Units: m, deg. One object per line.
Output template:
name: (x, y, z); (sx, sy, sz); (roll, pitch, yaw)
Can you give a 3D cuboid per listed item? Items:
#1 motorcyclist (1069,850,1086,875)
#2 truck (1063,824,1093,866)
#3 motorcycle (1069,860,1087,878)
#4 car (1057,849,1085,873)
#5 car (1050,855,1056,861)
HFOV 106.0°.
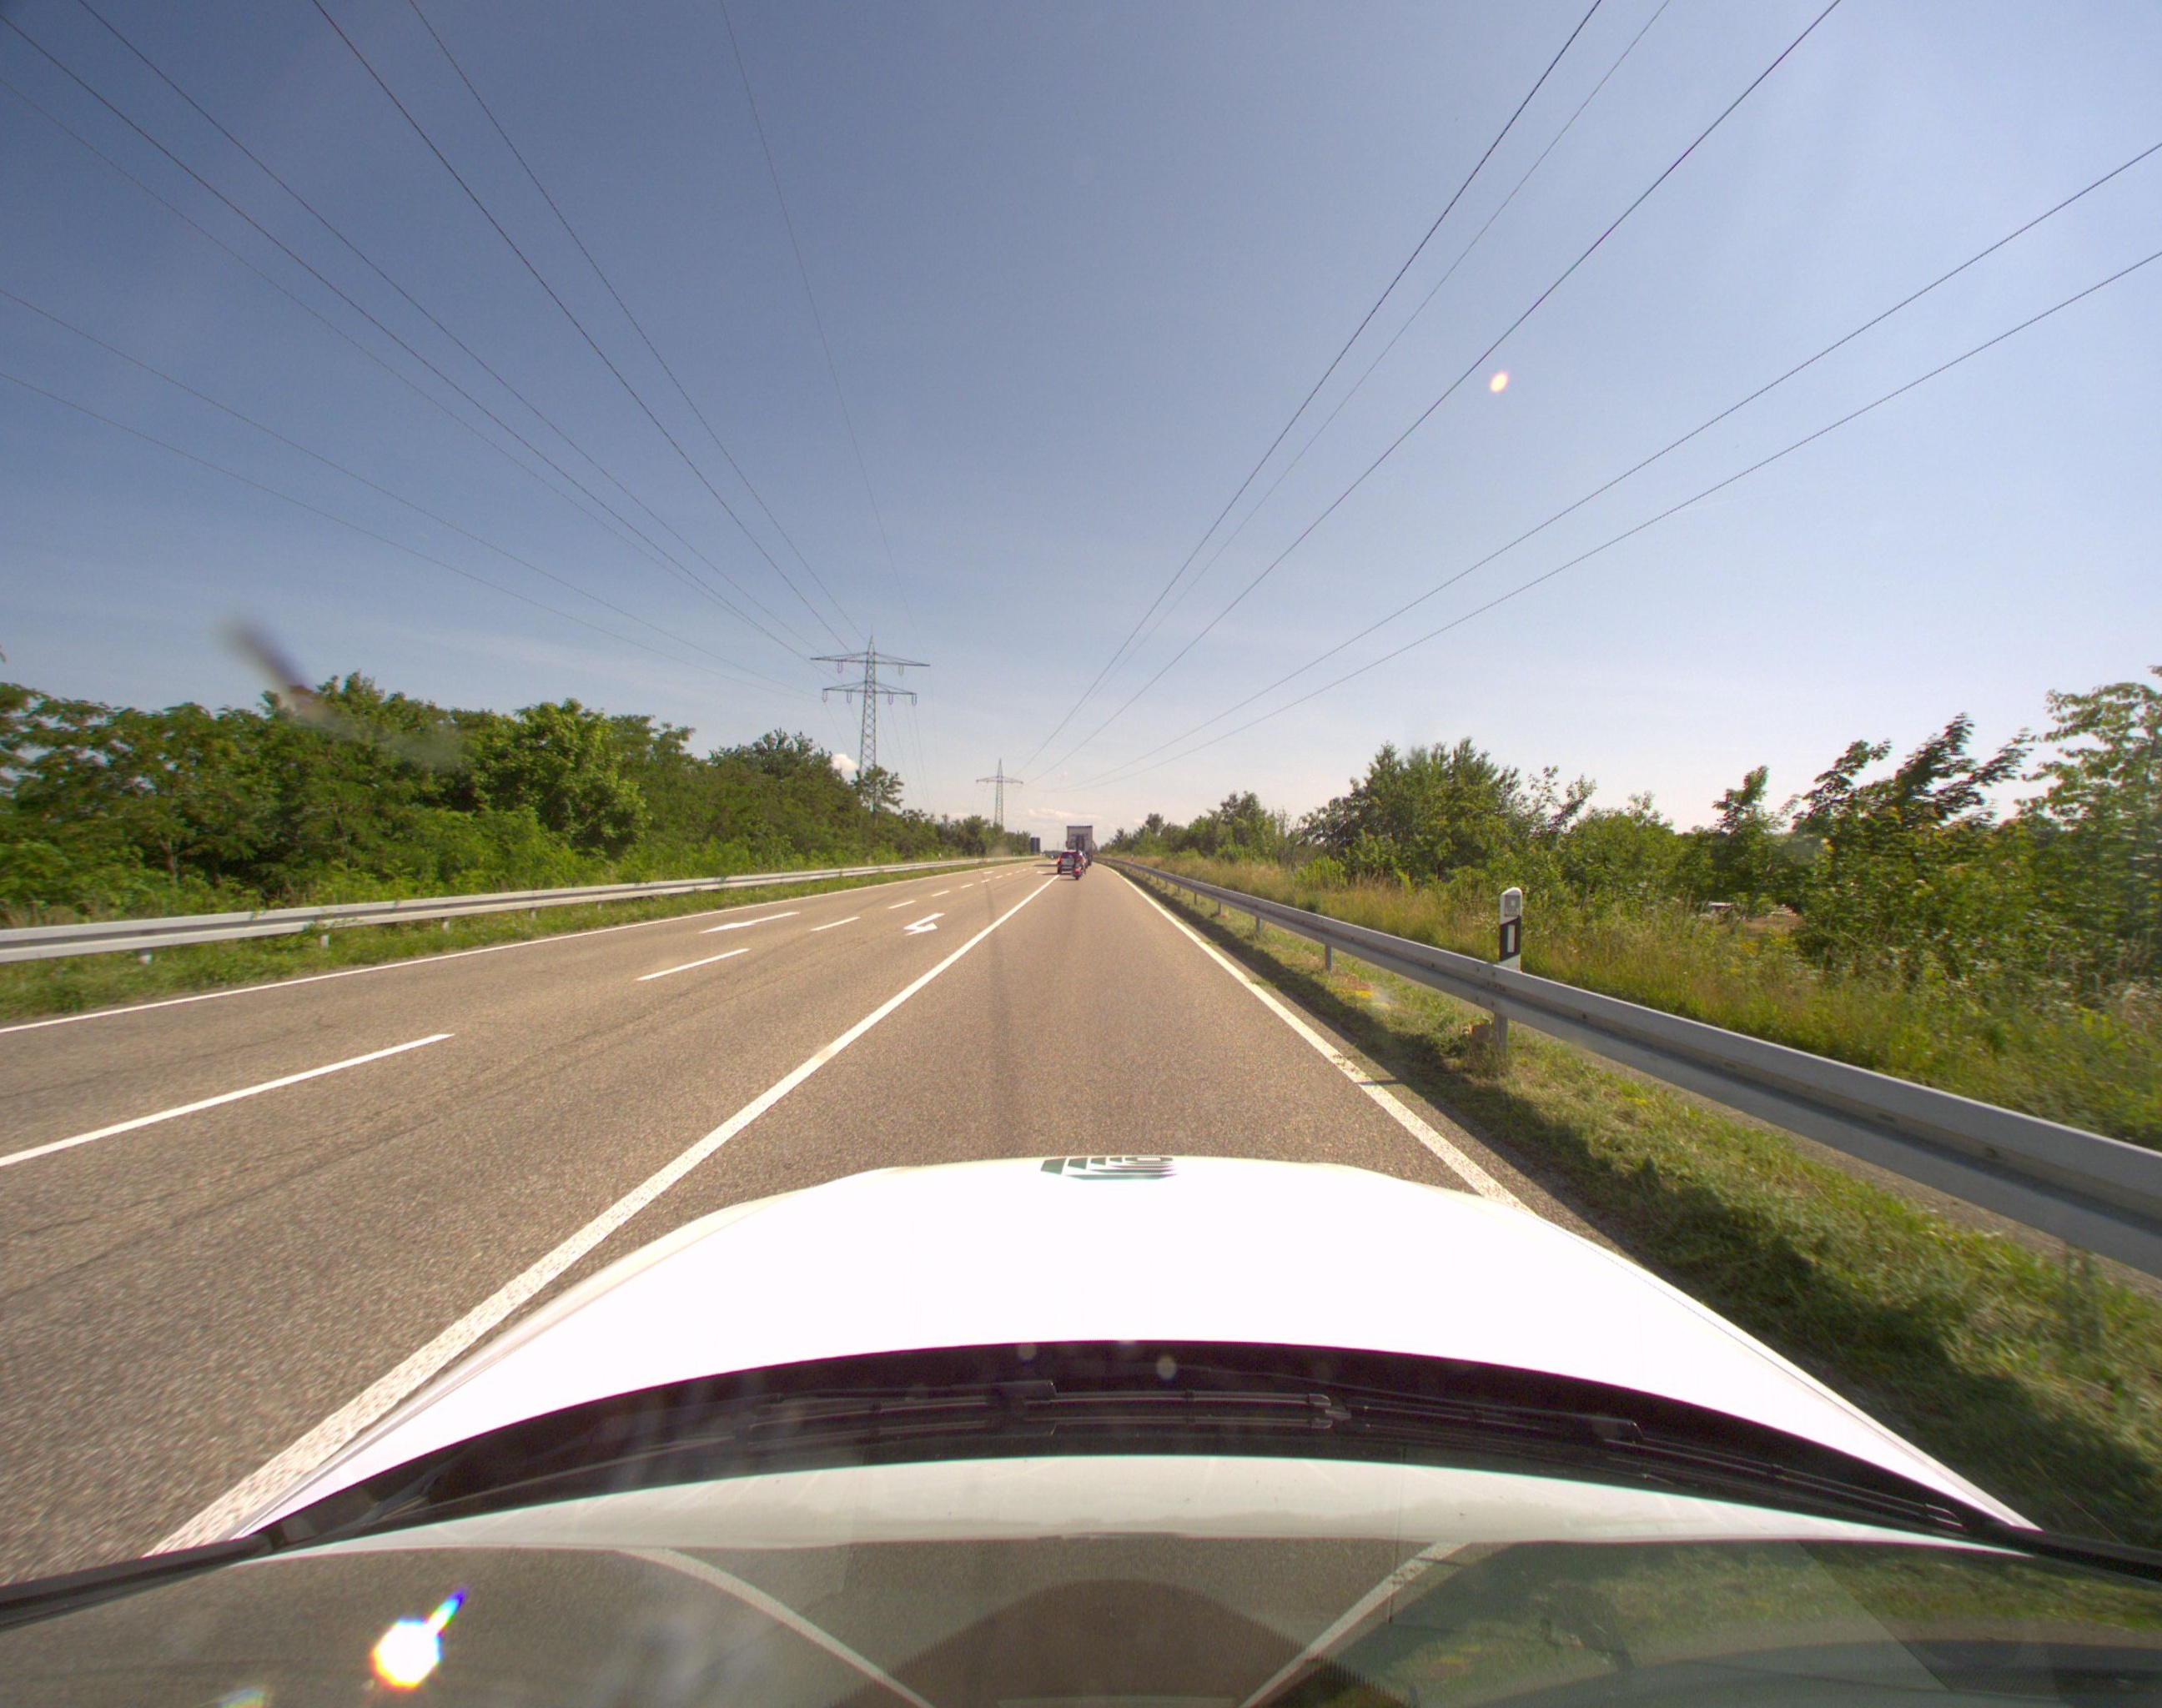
motorcyclist: (-0.186, 0.427, 42.410); (0.835, 1.280, 0.918); (0, 0, -3)
truck: (-0.260, -0.899, 88.109); (2.958, 4.187, 14.821); (0, 0, 0)
motorcycle: (-0.181, 0.774, 42.341); (0.857, 0.915, 2.225); (0, 0, -3)
car: (-0.643, 0.431, 52.889); (1.696, 1.536, 3.498); (0, 0, -1)
car: (-7.339, 0.964, 213.592); (1.722, 1.491, 4.420); (0, 0, -1)
